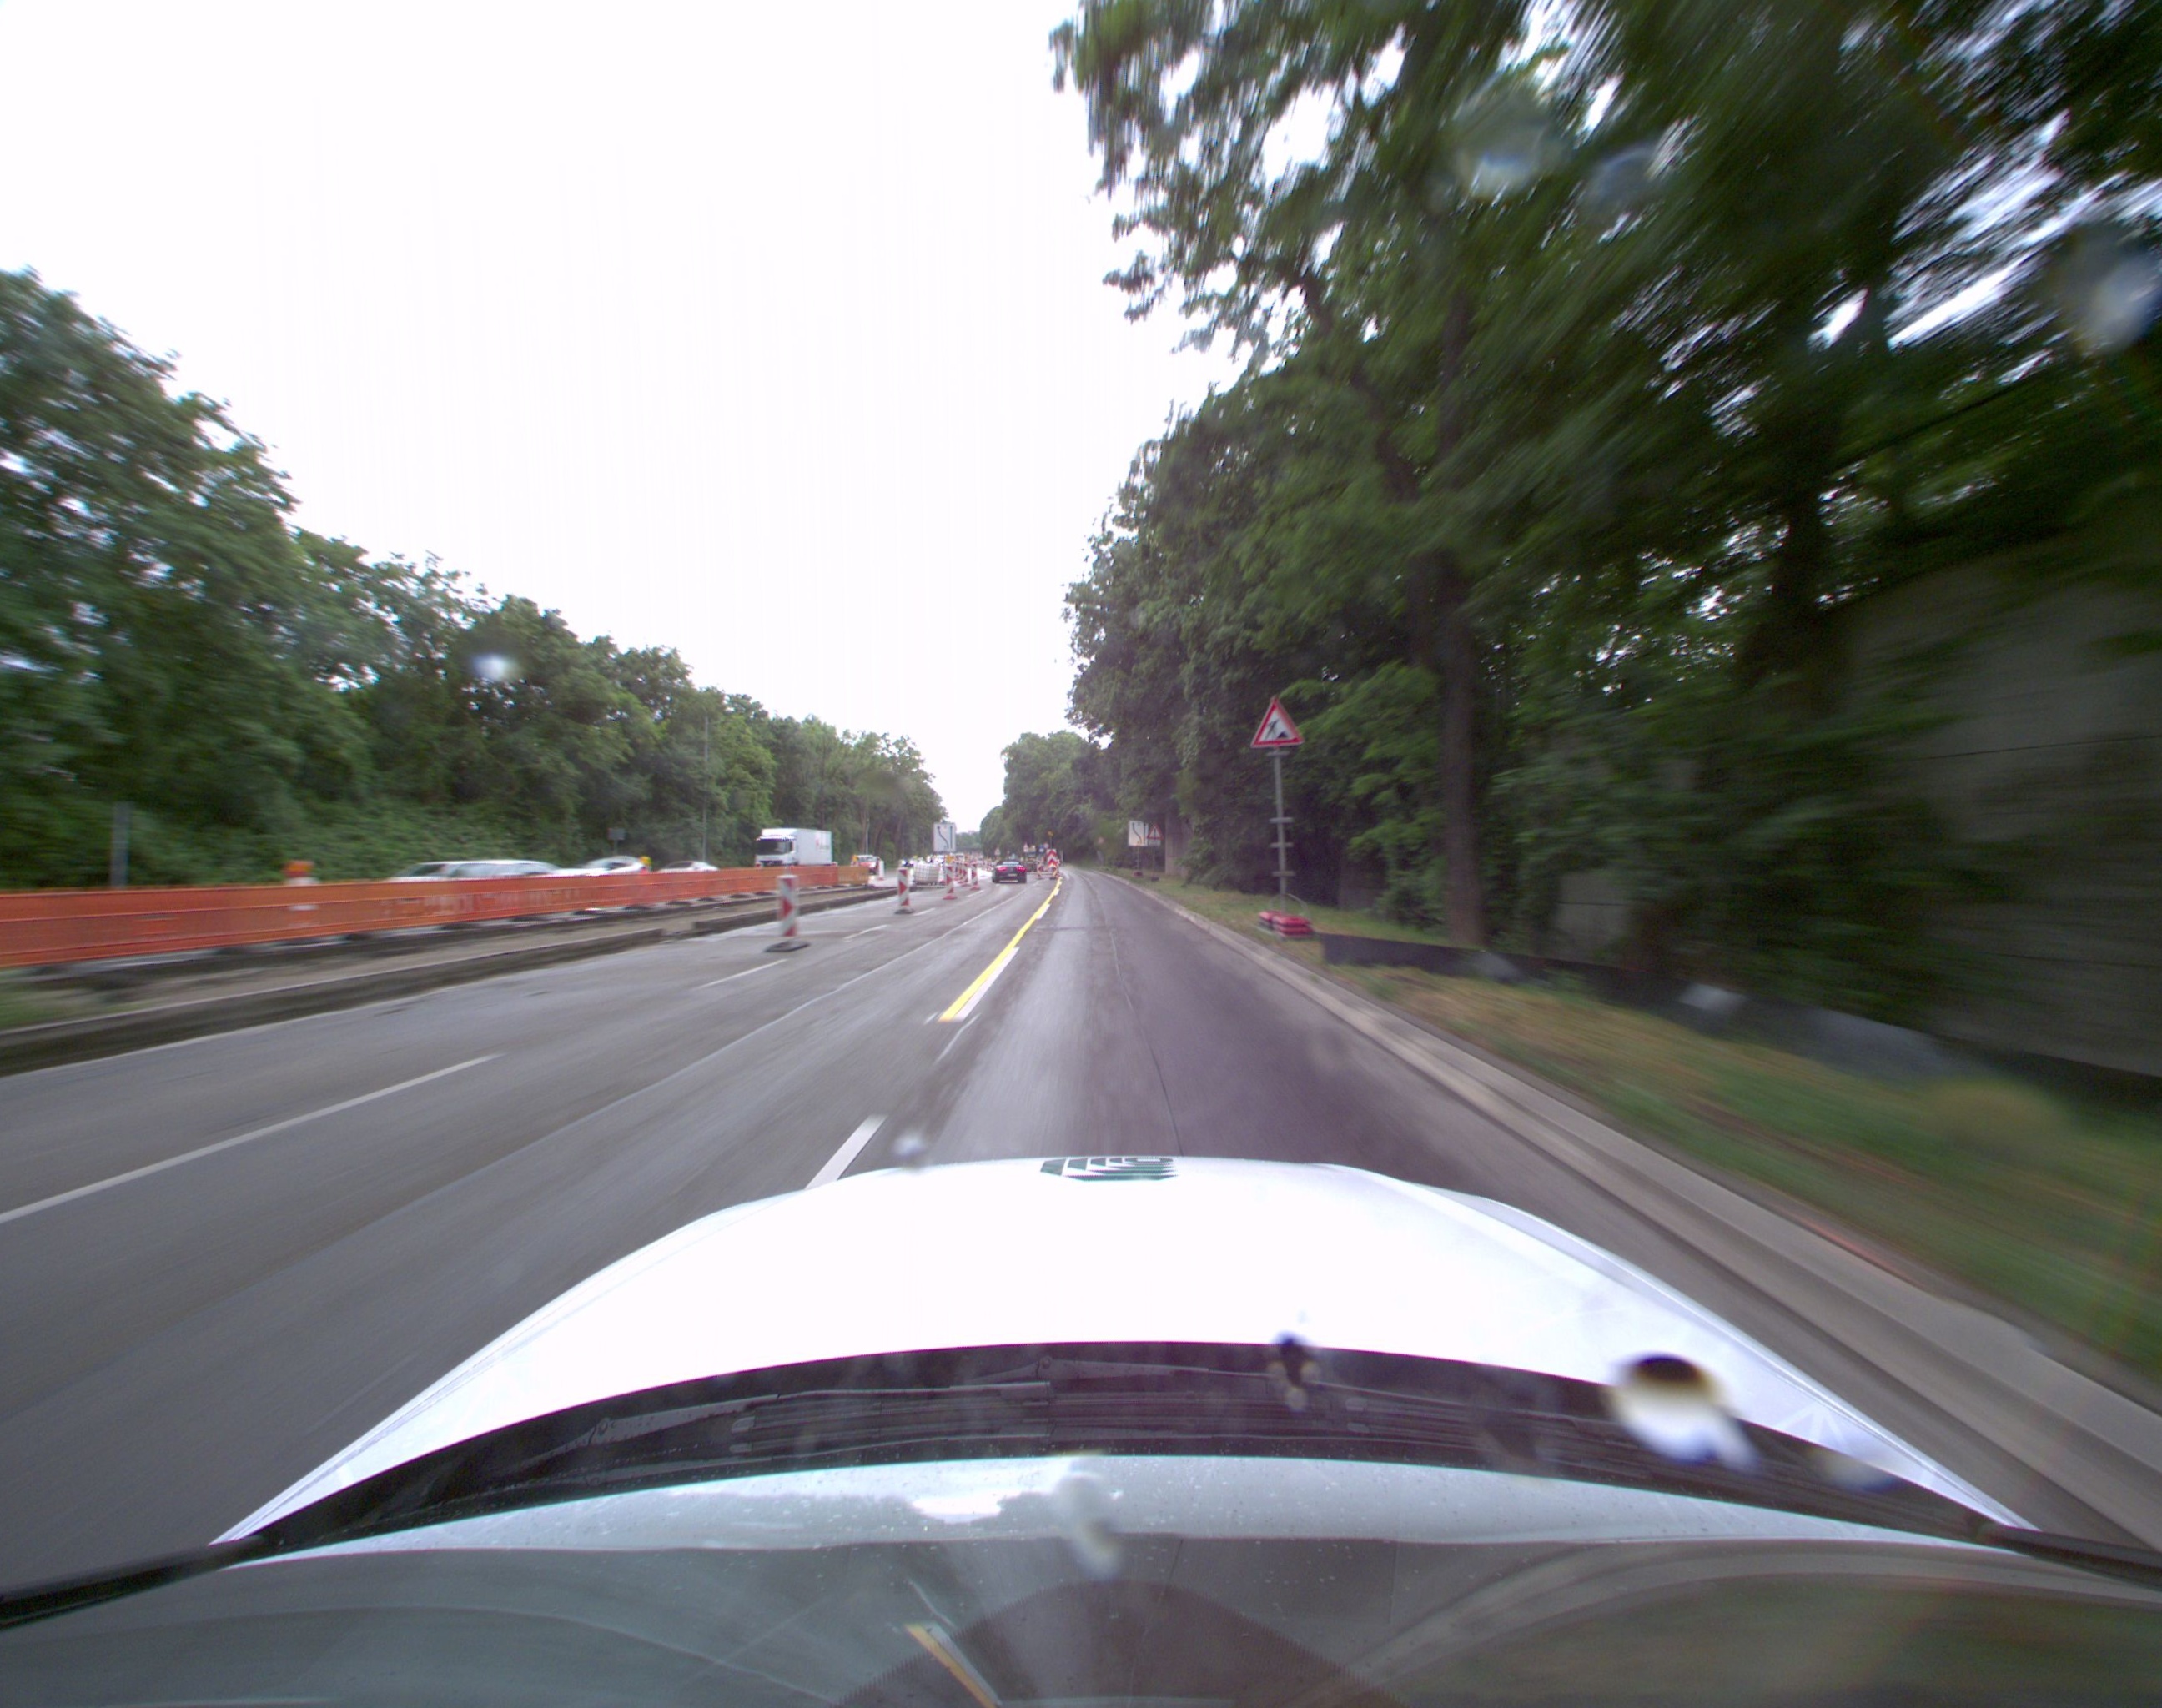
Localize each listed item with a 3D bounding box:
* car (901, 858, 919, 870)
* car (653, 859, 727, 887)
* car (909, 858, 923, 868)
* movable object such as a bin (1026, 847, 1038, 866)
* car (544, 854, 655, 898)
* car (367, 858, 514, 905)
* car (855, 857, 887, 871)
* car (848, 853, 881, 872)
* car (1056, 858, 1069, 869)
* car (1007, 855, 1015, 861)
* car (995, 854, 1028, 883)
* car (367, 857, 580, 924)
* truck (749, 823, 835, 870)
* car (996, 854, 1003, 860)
[{"bbox_3d":[-24.018,1.379,114.486,1.631,1.647,4.197,-1,0,-1],"label":"car"},{"bbox_3d":[-20.938,0.975,43.794,1.804,1.379,4.369,0,0,1],"label":"car"},{"bbox_3d":[-25.830,1.353,127.448,1.521,1.457,3.537,-2,0,-2],"label":"car"},{"bbox_3d":[-7.574,0.424,126.849,1.744,2.867,3.528,-1,0,-5],"label":"movable object such as a bin"},{"bbox_3d":[-18.446,0.802,31.438,1.828,1.550,4.040,0,0,1],"label":"car"},{"bbox_3d":[-21.318,0.876,27.314,1.784,1.425,3.897,0,0,1],"label":"car"},{"bbox_3d":[-18.391,0.855,71.446,1.600,1.152,4.283,0,0,1],"label":"car"},{"bbox_3d":[-21.511,0.852,81.206,1.838,1.723,4.720,-4,0,1],"label":"car"},{"bbox_3d":[-3.027,1.499,130.820,1.910,1.598,4.828,0,1,-3],"label":"car"},{"bbox_3d":[-18.135,1.043,211.974,1.756,1.344,3.988,1,1,-9],"label":"car"},{"bbox_3d":[-4.099,0.848,48.689,1.858,1.491,3.996,1,2,-4],"label":"car"},{"bbox_3d":[-15.260,0.847,20.871,1.849,1.486,4.680,0,0,1],"label":"car"},{"bbox_3d":[-21.009,-0.506,59.931,2.787,3.148,10.144,0,0,0],"label":"truck"},{"bbox_3d":[-24.511,0.927,244.099,1.871,1.618,3.995,2,0,-3],"label":"car"}]
